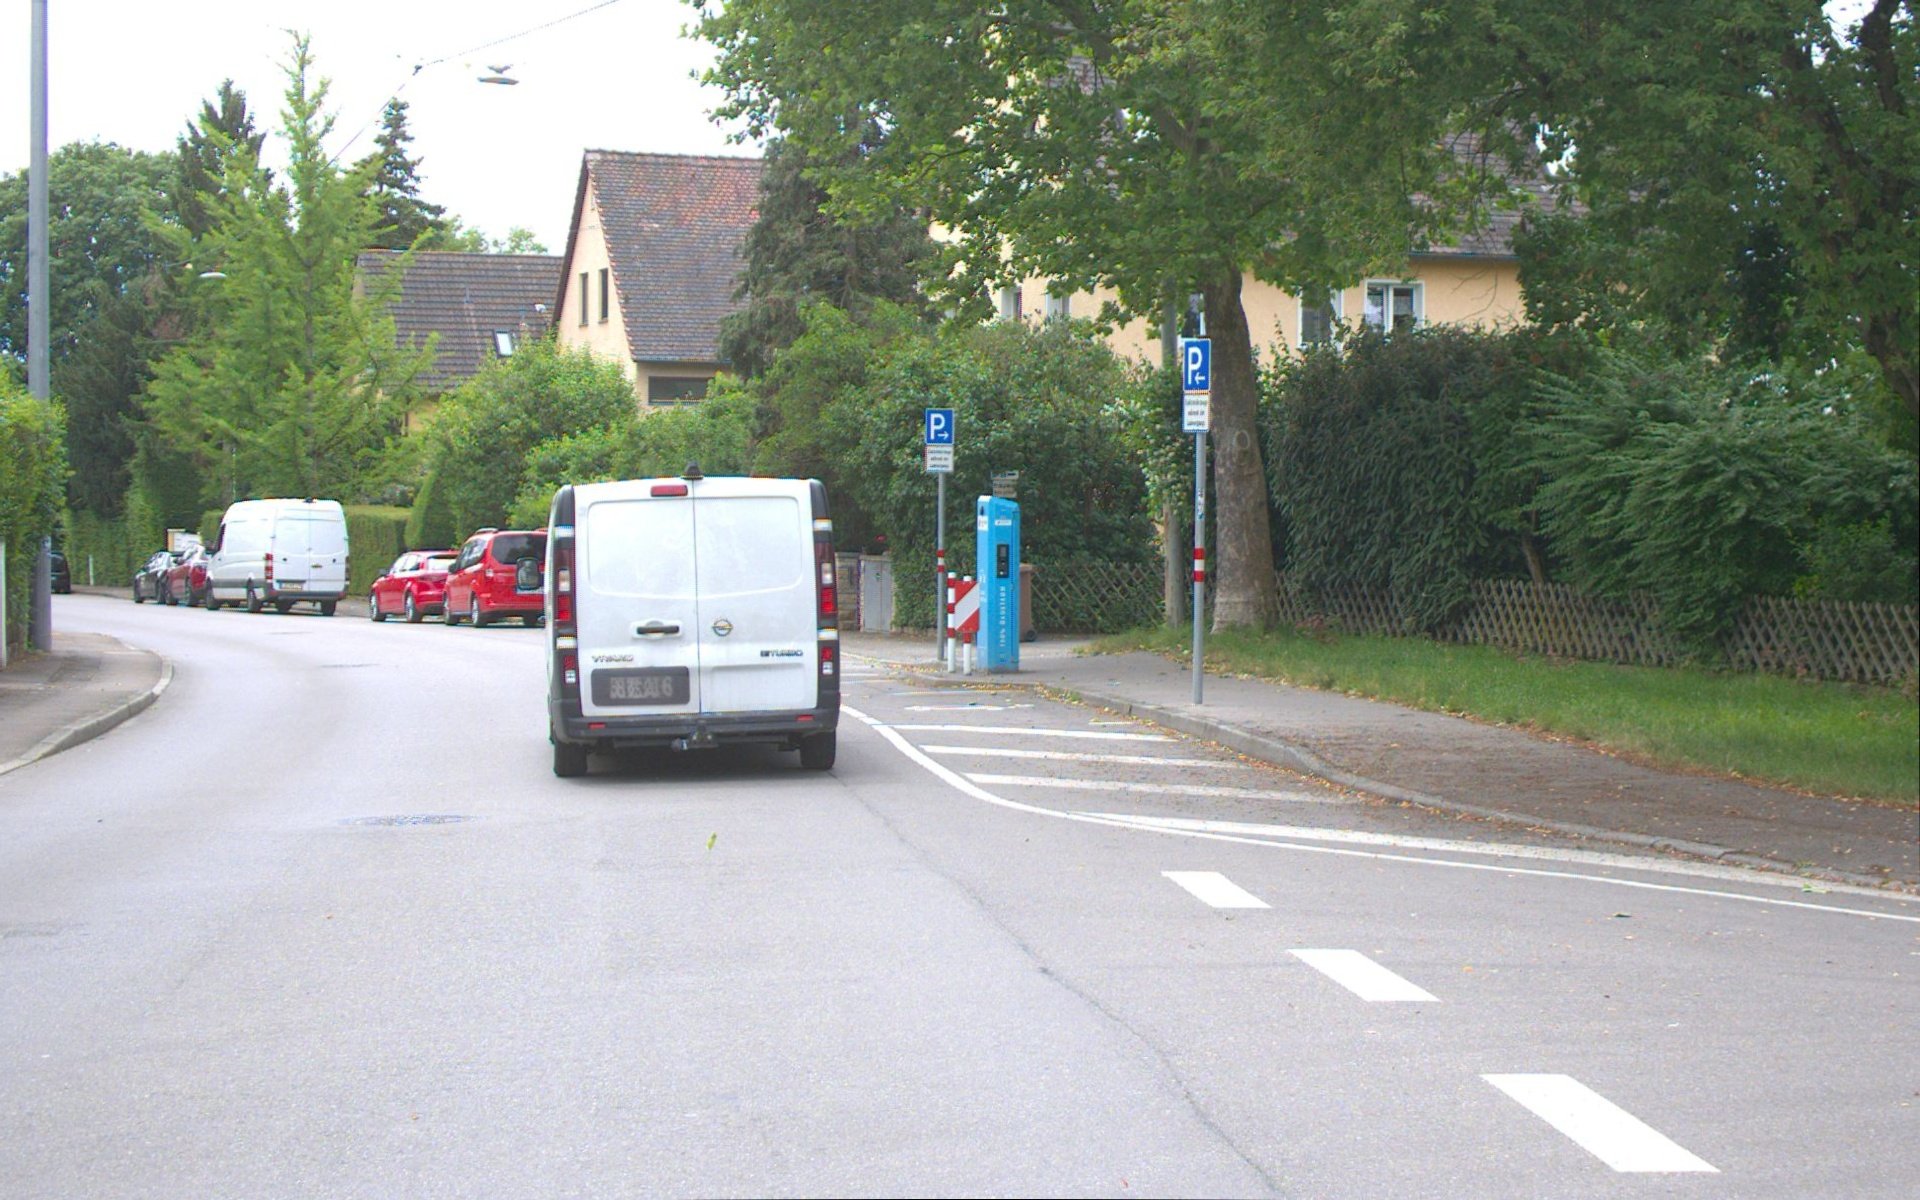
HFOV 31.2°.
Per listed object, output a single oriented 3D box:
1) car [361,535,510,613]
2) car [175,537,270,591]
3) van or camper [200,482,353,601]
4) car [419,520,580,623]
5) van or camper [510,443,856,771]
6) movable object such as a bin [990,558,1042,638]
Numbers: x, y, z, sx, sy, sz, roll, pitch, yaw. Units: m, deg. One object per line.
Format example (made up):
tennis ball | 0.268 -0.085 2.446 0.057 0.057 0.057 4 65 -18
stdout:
car | -10.328 -0.521 67.462 1.712 1.462 4.269 0 1 -25
car | -18.737 -0.926 87.268 1.530 1.300 4.032 0 1 -24
van or camper | -16.061 -1.386 80.502 2.066 2.665 6.330 0 1 -25
car | -8.451 -0.548 62.797 1.760 1.791 4.950 0 1 -22
van or camper | -2.039 -0.053 23.889 1.923 2.006 4.831 1 2 -10
movable object such as a bin | 0.763 -0.031 46.978 0.603 1.066 0.568 1 0 -8
